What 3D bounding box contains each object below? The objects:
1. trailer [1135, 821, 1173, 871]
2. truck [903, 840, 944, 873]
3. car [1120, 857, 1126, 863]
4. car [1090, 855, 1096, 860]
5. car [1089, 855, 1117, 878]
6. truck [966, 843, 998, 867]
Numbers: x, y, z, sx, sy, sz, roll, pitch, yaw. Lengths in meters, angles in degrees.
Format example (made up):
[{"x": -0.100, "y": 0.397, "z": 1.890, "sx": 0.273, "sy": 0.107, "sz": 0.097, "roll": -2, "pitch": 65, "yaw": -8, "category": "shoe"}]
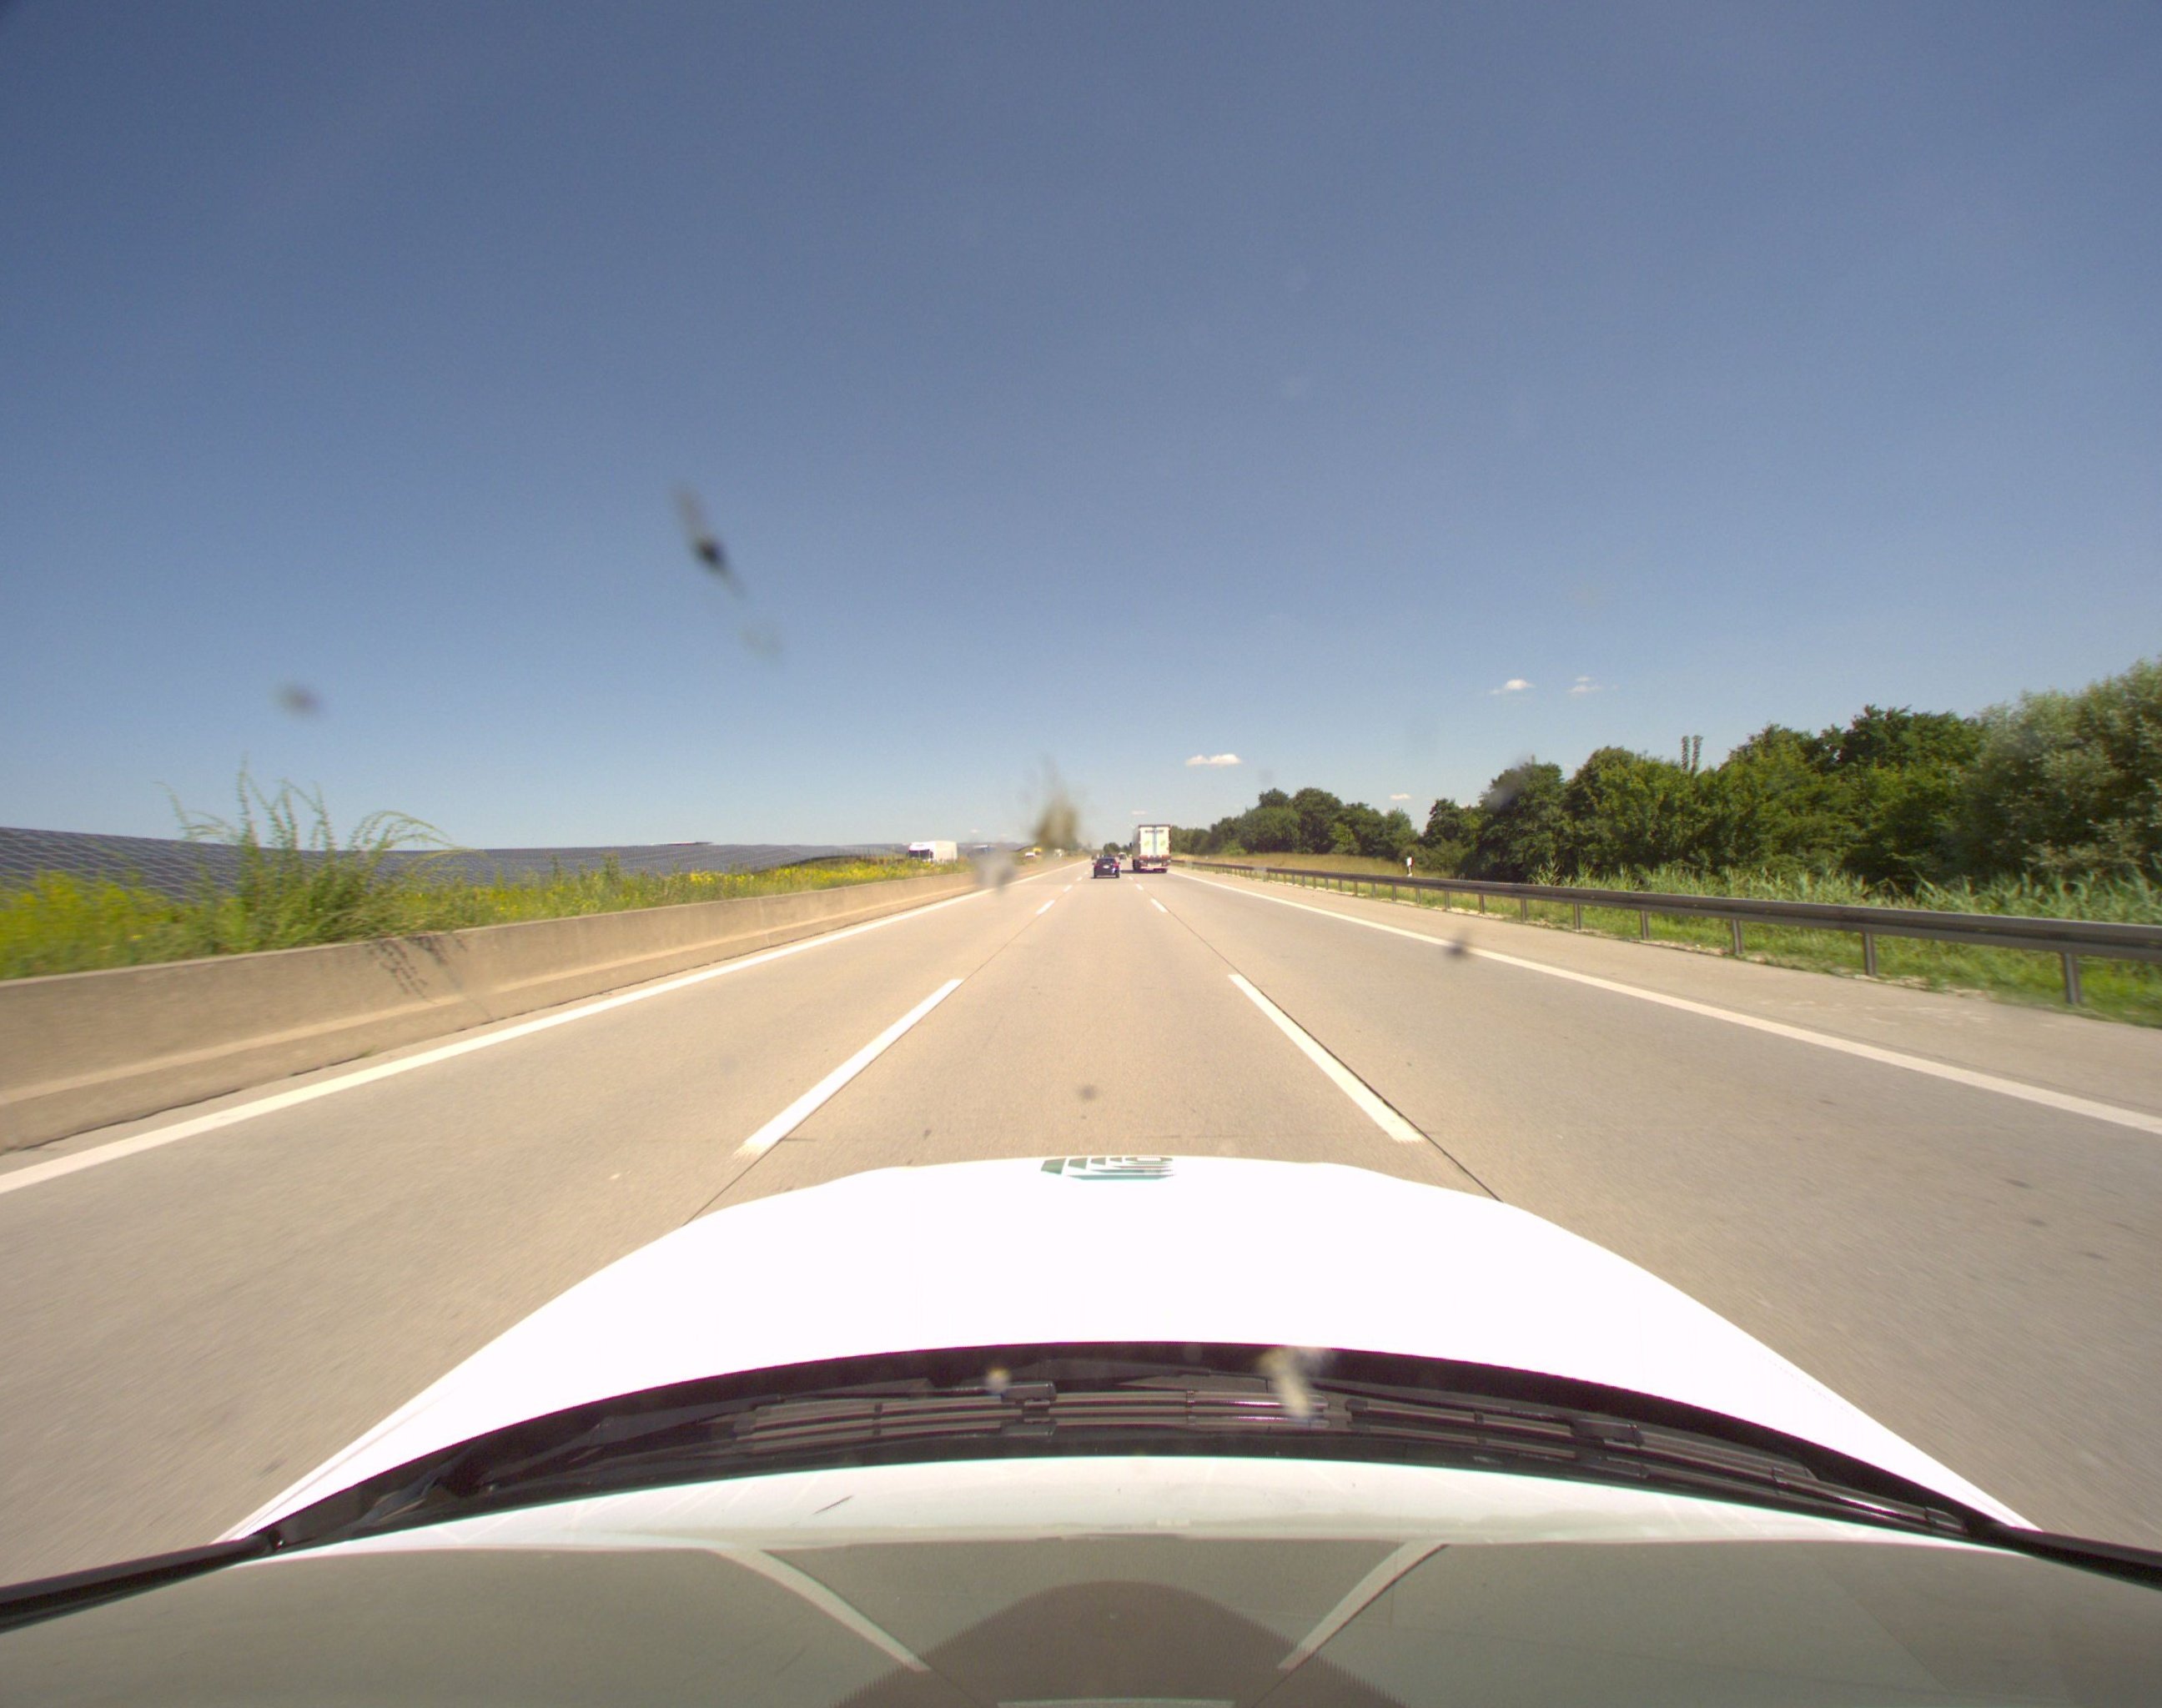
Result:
[{"x": 6.374, "y": -0.638, "z": 72.984, "sx": 2.841, "sy": 4.042, "sz": 12.721, "roll": -1, "pitch": 0, "yaw": 3, "category": "trailer"}, {"x": -17.818, "y": 0.309, "z": 92.737, "sx": 3.110, "sy": 3.487, "sz": 6.888, "roll": 0, "pitch": -1, "yaw": 2, "category": "truck"}, {"x": 11.898, "y": 1.692, "z": 230.788, "sx": 1.820, "sy": 1.907, "sz": 4.001, "roll": -1, "pitch": 0, "yaw": 1, "category": "car"}, {"x": 3.467, "y": 0.997, "z": 231.648, "sx": 1.649, "sy": 1.196, "sz": 3.961, "roll": 2, "pitch": 0, "yaw": 2, "category": "car"}, {"x": 1.520, "y": 0.850, "z": 56.622, "sx": 1.903, "sy": 1.492, "sz": 4.193, "roll": 0, "pitch": 0, "yaw": 1, "category": "car"}, {"x": -13.459, "y": 0.191, "z": 111.644, "sx": 2.814, "sy": 3.064, "sz": 10.378, "roll": 0, "pitch": -1, "yaw": 2, "category": "truck"}]
